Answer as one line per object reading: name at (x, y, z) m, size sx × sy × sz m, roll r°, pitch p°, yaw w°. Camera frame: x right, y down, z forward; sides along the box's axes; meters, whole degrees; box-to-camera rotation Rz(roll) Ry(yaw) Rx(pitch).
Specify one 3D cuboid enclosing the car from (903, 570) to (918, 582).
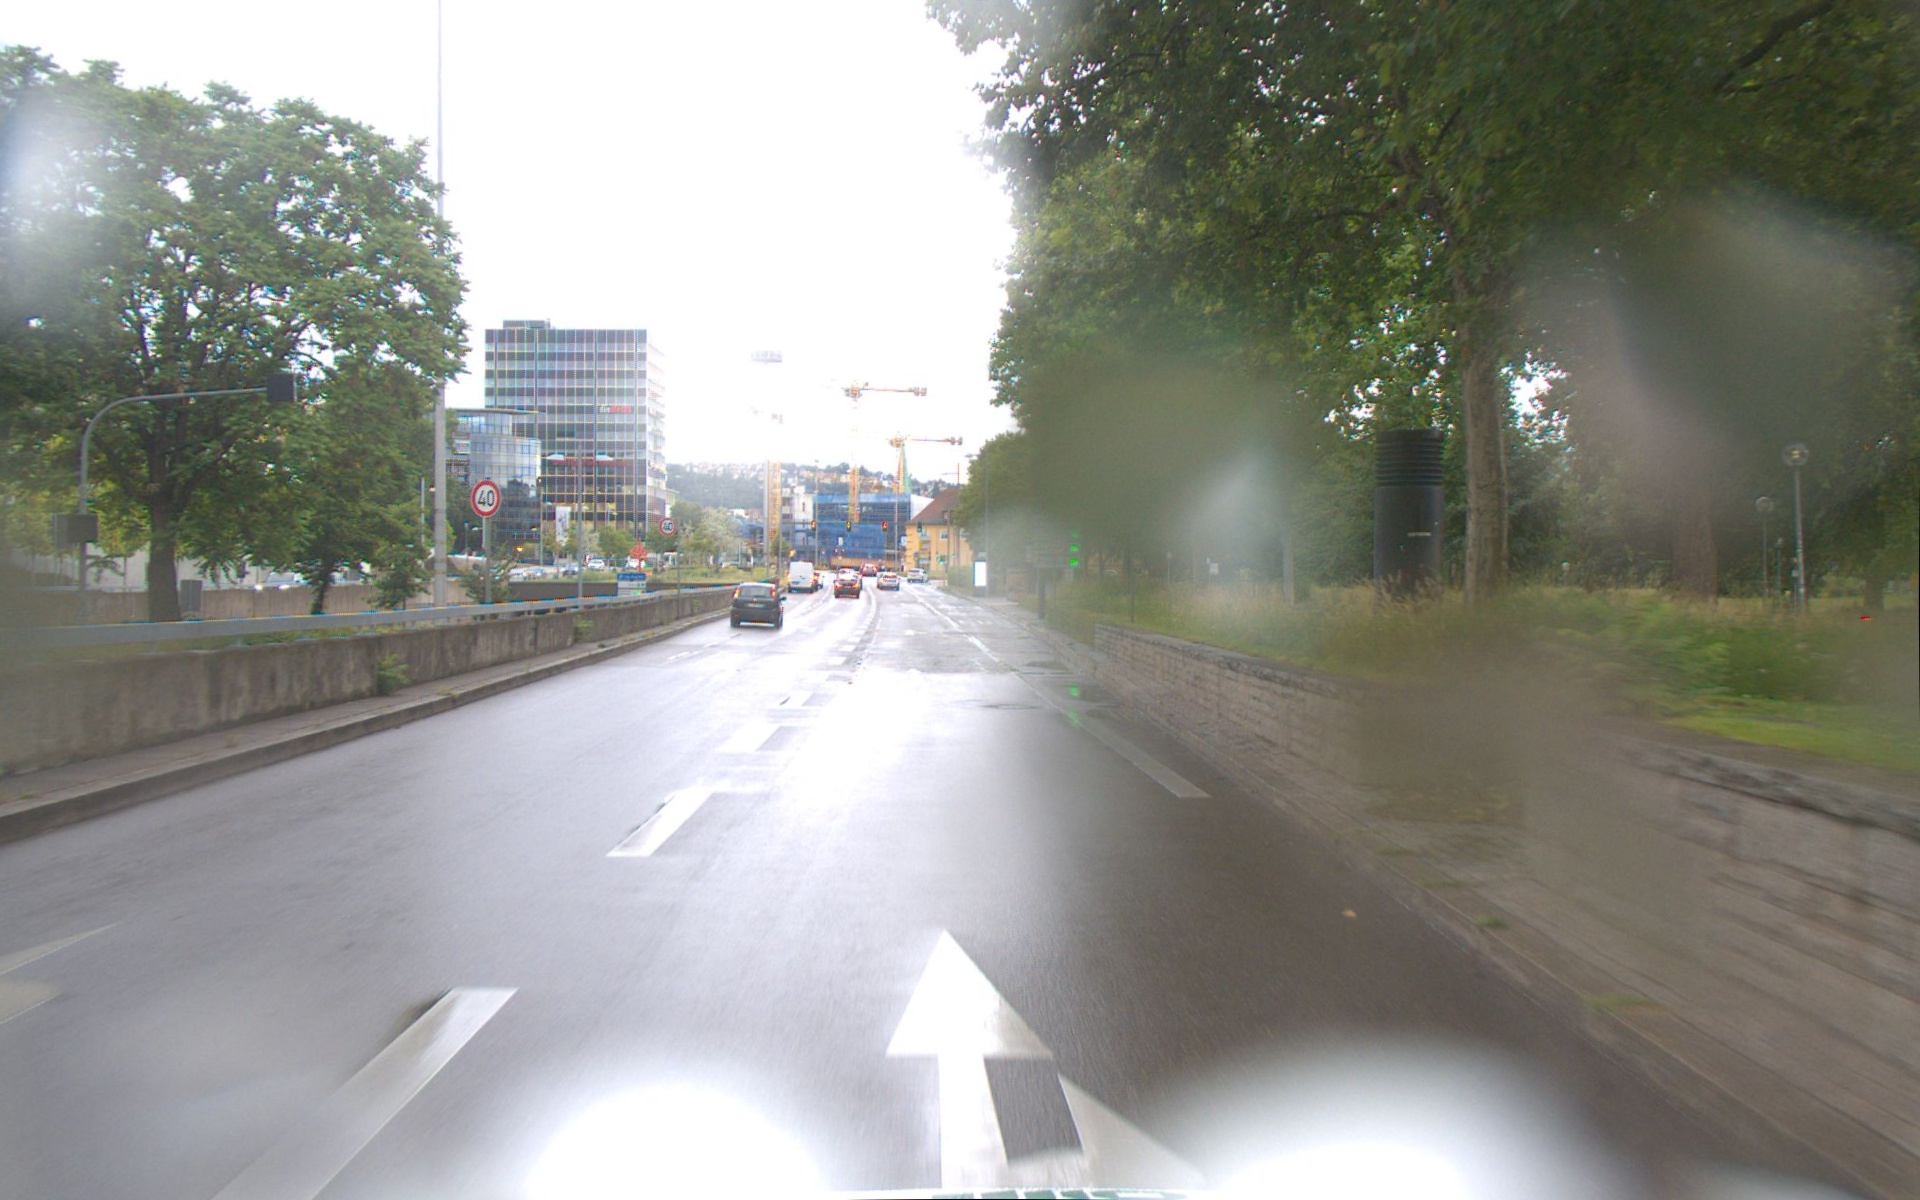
car at (-5.577, -2.653, 185.222) m, size 1.603 × 1.194 × 3.265 m, roll 2°, pitch -1°, yaw -1°

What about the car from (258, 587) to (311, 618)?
car at (-36.946, 0.135, 90.468) m, size 1.692 × 1.588 × 3.031 m, roll 2°, pitch 0°, yaw -2°

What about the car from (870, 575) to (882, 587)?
car at (-7.807, -1.791, 154.020) m, size 1.055 × 1.007 × 1.971 m, roll 1°, pitch -1°, yaw -1°

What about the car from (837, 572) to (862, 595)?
car at (-7.977, -1.182, 119.379) m, size 1.719 × 1.496 × 4.219 m, roll 1°, pitch 2°, yaw -5°

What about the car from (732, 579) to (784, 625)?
car at (-6.716, 0.051, 55.164) m, size 1.512 × 1.440 × 3.898 m, roll 2°, pitch 0°, yaw -4°

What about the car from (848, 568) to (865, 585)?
car at (-9.137, -2.052, 146.407) m, size 1.464 × 1.393 × 3.031 m, roll 2°, pitch 0°, yaw -4°

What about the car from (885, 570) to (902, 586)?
car at (-5.967, -1.985, 147.799) m, size 1.415 × 1.383 × 2.411 m, roll 2°, pitch 0°, yaw -1°

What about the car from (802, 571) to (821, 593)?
car at (-12.284, -1.488, 136.712) m, size 1.436 × 1.736 × 3.137 m, roll 2°, pitch 0°, yaw -6°

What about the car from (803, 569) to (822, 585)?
car at (-12.969, -2.002, 145.566) m, size 1.520 × 1.282 × 2.578 m, roll 2°, pitch 0°, yaw -4°

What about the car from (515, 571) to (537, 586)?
car at (-42.253, -2.077, 161.079) m, size 1.317 × 1.376 × 2.930 m, roll 1°, pitch 0°, yaw -2°

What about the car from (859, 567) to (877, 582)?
car at (-11.936, -3.296, 215.179) m, size 2.117 × 1.912 × 3.770 m, roll 2°, pitch 0°, yaw -1°

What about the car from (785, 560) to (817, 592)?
car at (-12.461, -1.875, 129.578) m, size 2.247 × 2.354 × 5.002 m, roll 2°, pitch 0°, yaw -3°

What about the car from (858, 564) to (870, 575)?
car at (-13.174, -4.171, 227.272) m, size 1.449 × 1.384 × 3.135 m, roll 2°, pitch 0°, yaw 0°

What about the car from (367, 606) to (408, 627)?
car at (-33.461, 0.947, 96.703) m, size 1.458 × 1.149 × 3.048 m, roll 2°, pitch 0°, yaw -4°

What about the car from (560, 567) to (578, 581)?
car at (-43.655, -2.924, 184.773) m, size 1.435 × 1.465 × 2.960 m, roll 2°, pitch 0°, yaw -4°

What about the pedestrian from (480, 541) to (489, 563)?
pedestrian at (-47.629, -4.809, 165.589) m, size 0.752 × 2.126 × 0.726 m, roll 1°, pitch 6°, yaw -4°
